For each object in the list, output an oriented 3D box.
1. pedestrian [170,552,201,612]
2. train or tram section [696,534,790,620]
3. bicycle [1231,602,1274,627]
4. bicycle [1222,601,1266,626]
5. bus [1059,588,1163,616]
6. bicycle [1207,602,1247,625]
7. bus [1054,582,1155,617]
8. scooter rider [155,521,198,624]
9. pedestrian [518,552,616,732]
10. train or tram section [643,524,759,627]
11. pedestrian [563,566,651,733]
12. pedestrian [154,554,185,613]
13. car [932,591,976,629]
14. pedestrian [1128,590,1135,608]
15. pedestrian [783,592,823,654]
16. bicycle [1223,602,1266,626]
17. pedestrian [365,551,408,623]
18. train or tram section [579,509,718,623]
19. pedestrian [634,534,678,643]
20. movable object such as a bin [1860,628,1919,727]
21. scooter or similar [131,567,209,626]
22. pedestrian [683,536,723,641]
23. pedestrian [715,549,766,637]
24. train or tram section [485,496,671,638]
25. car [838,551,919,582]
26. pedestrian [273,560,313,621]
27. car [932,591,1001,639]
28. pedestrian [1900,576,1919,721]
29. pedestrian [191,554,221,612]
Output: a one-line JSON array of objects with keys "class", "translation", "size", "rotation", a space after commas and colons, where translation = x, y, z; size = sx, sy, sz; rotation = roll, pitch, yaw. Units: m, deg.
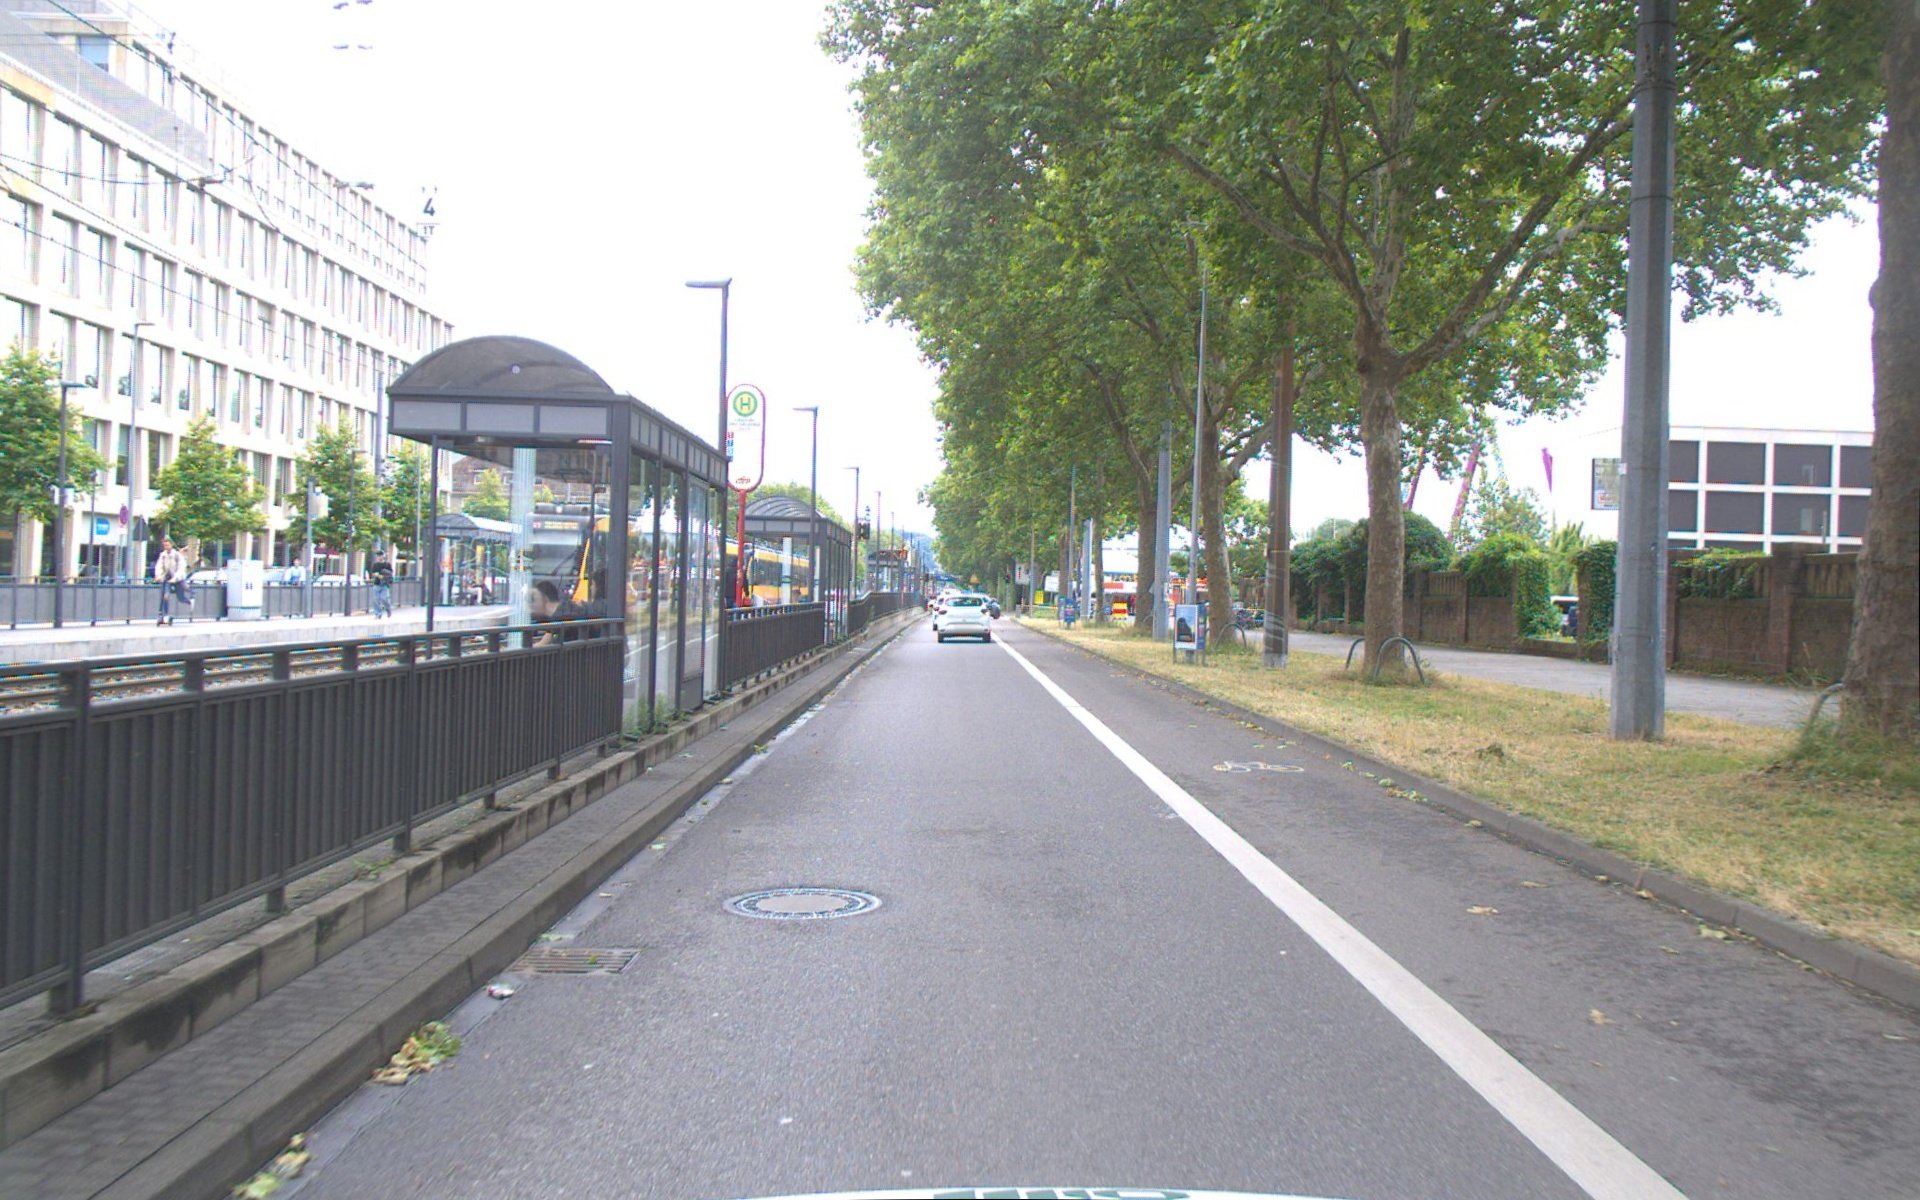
[{"class": "pedestrian", "translation": [-26.932, -0.620, 57.529], "size": [0.698, 2.049, 0.725], "rotation": [1, -1, -1]}, {"class": "train or tram section", "translation": [-11.649, -1.118, 90.385], "size": [3.115, 4.252, 14.732], "rotation": [1, 0, 0]}, {"class": "bicycle", "translation": [13.276, 0.643, 75.118], "size": [1.852, 1.124, 0.549], "rotation": [0, 0, -2]}, {"class": "bicycle", "translation": [13.092, 0.628, 76.327], "size": [1.934, 1.114, 0.549], "rotation": [0, 0, -2]}, {"class": "bus", "translation": [13.626, 0.209, 149.454], "size": [9.092, 2.266, 1.999], "rotation": [1, -1, -3]}, {"class": "bicycle", "translation": [12.951, 0.655, 80.267], "size": [1.883, 1.110, 0.549], "rotation": [0, 0, -2]}, {"class": "bus", "translation": [13.291, -0.002, 152.623], "size": [9.092, 3.011, 1.999], "rotation": [1, -1, -3]}, {"class": "scooter rider", "translation": [-15.884, -0.546, 33.547], "size": [0.505, 2.044, 0.681], "rotation": [1, -1, -1]}, {"class": "pedestrian", "translation": [-3.077, 0.325, 12.989], "size": [0.598, 1.364, 0.600], "rotation": [1, -1, 0]}, {"class": "train or tram section", "translation": [-11.703, -0.993, 76.226], "size": [3.115, 4.252, 13.619], "rotation": [1, 0, 0]}, {"class": "pedestrian", "translation": [-3.040, 0.418, 14.274], "size": [0.598, 1.396, 0.600], "rotation": [1, -1, 0]}, {"class": "pedestrian", "translation": [-27.856, -0.574, 58.291], "size": [0.698, 2.049, 0.725], "rotation": [1, -1, -1]}, {"class": "car", "translation": [-0.222, 0.416, 71.338], "size": [1.803, 1.579, 4.000], "rotation": [1, 0, 1]}, {"class": "pedestrian", "translation": [14.849, -0.072, 143.390], "size": [0.483, 1.488, 0.523], "rotation": [1, -1, -3]}, {"class": "pedestrian", "translation": [-3.465, 0.505, 36.525], "size": [0.818, 1.326, 0.613], "rotation": [1, -1, -2]}, {"class": "bicycle", "translation": [13.036, 0.633, 75.688], "size": [1.862, 1.116, 0.549], "rotation": [0, 0, -2]}, {"class": "pedestrian", "translation": [-15.046, -0.334, 43.401], "size": [0.697, 1.827, 1.160], "rotation": [1, -1, -2]}, {"class": "train or tram section", "translation": [-11.755, -1.156, 63.666], "size": [3.099, 3.929, 11.310], "rotation": [1, 0, 0]}, {"class": "pedestrian", "translation": [-5.252, -0.191, 28.573], "size": [0.658, 1.825, 1.109], "rotation": [1, -1, -13]}, {"class": "movable object such as a bin", "translation": [11.421, 0.927, 19.987], "size": [0.598, 1.131, 1.015], "rotation": [1, 0, 5]}, {"class": "scooter or similar", "translation": [-15.899, -0.068, 33.338], "size": [0.512, 1.134, 2.226], "rotation": [1, 0, -1]}, {"class": "pedestrian", "translation": [-4.578, -0.203, 29.489], "size": [0.657, 1.825, 1.111], "rotation": [1, -1, -9]}, {"class": "pedestrian", "translation": [-5.199, -0.160, 39.235], "size": [1.037, 2.049, 0.840], "rotation": [1, -1, 0]}, {"class": "train or tram section", "translation": [-11.753, -0.895, 52.260], "size": [3.171, 3.929, 11.310], "rotation": [1, 0, 0]}, {"class": "car", "translation": [-4.122, -1.700, 84.067], "size": [3.904, 1.512, 1.787], "rotation": [1, 0, 2]}, {"class": "pedestrian", "translation": [-22.966, -0.313, 56.972], "size": [0.914, 2.049, 1.032], "rotation": [1, -1, -2]}, {"class": "car", "translation": [0.261, 0.487, 54.028], "size": [1.845, 1.478, 4.002], "rotation": [1, 0, 6]}, {"class": "pedestrian", "translation": [11.317, 0.562, 19.113], "size": [0.546, 1.661, 0.670], "rotation": [1, -1, 5]}, {"class": "pedestrian", "translation": [-26.896, -0.608, 58.984], "size": [0.698, 2.049, 0.725], "rotation": [1, -1, -1]}]
